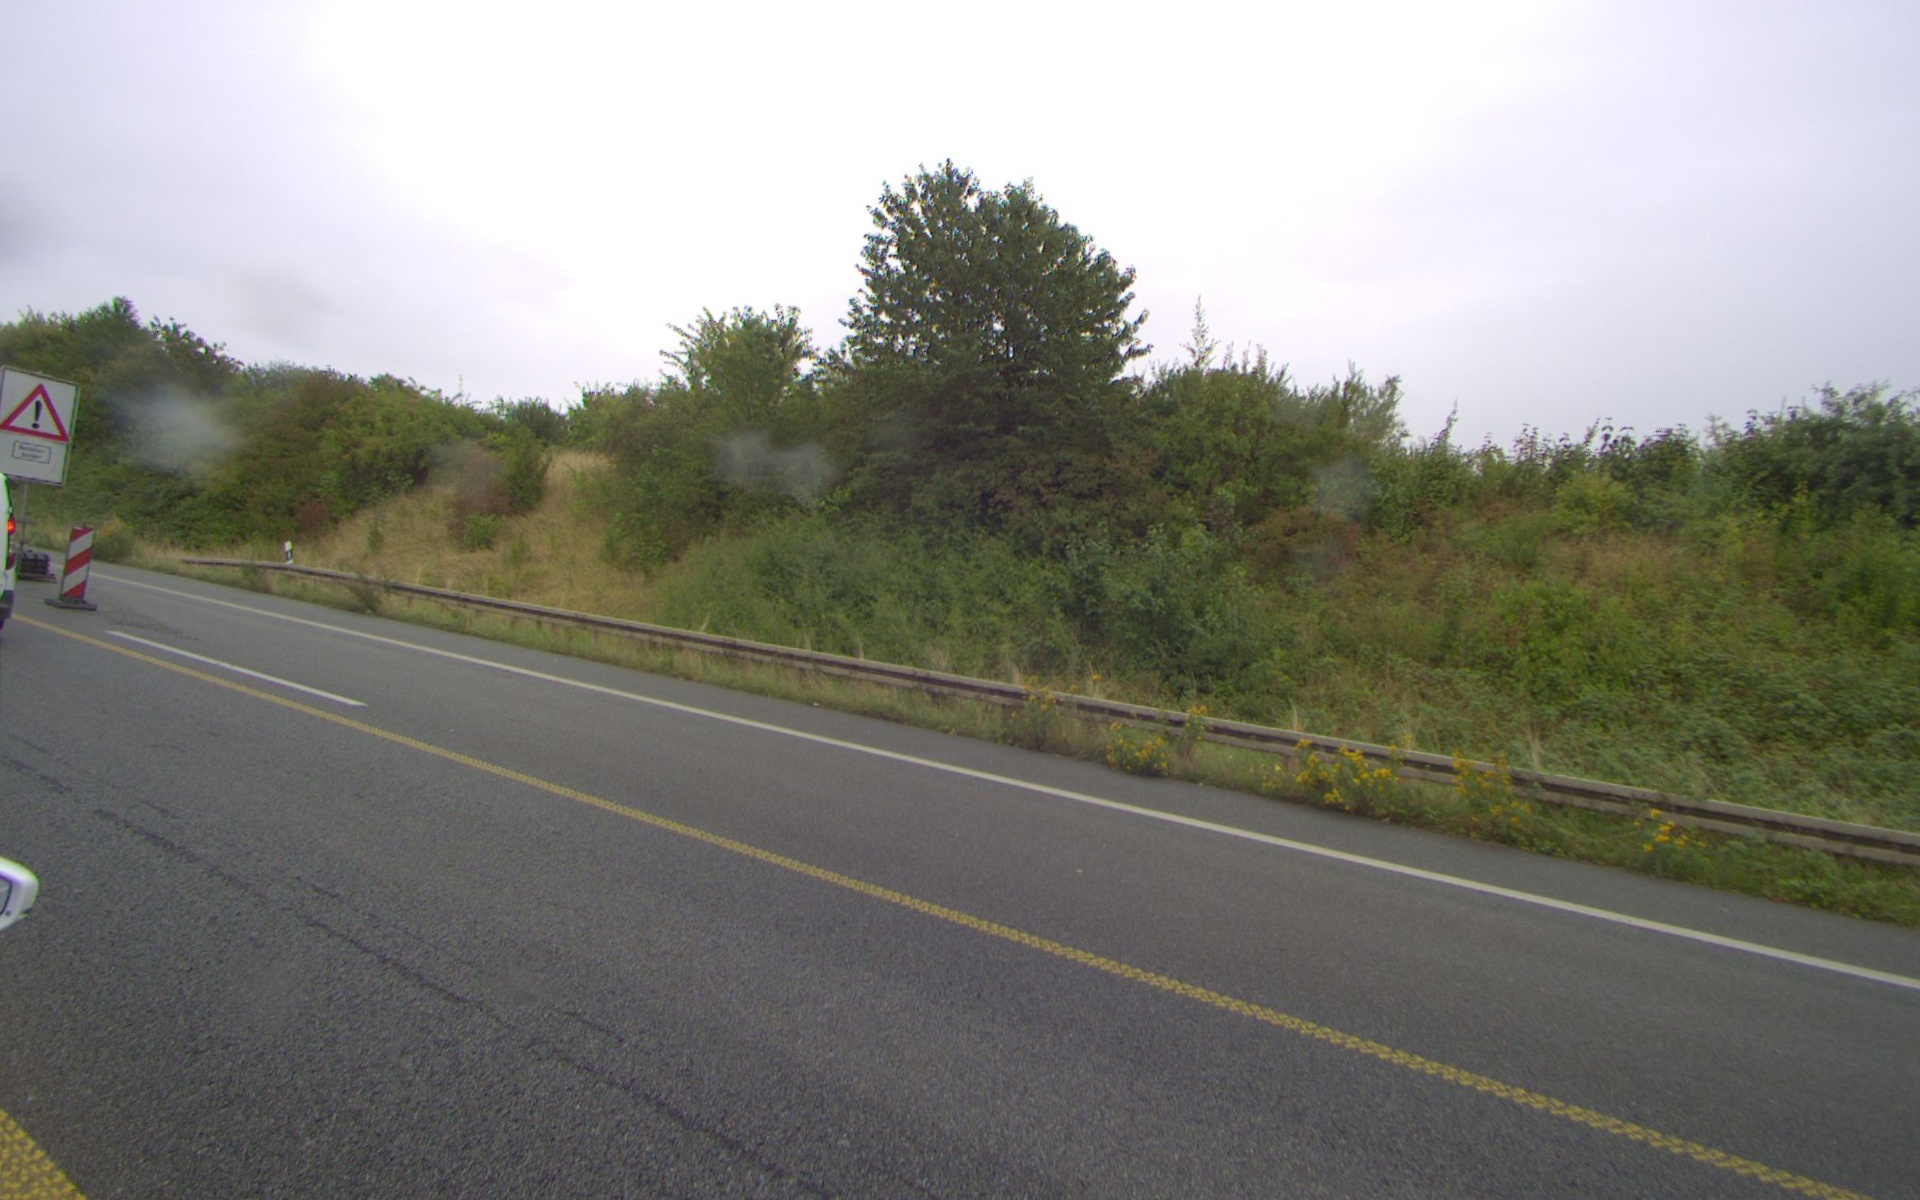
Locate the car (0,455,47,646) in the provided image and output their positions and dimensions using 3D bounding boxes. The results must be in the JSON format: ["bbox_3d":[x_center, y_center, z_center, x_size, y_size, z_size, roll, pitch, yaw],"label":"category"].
[{"bbox_3d":[-11.712,-0.770,10.557,4.578,1.861,1.832,7,-1,32],"label":"car"}]
